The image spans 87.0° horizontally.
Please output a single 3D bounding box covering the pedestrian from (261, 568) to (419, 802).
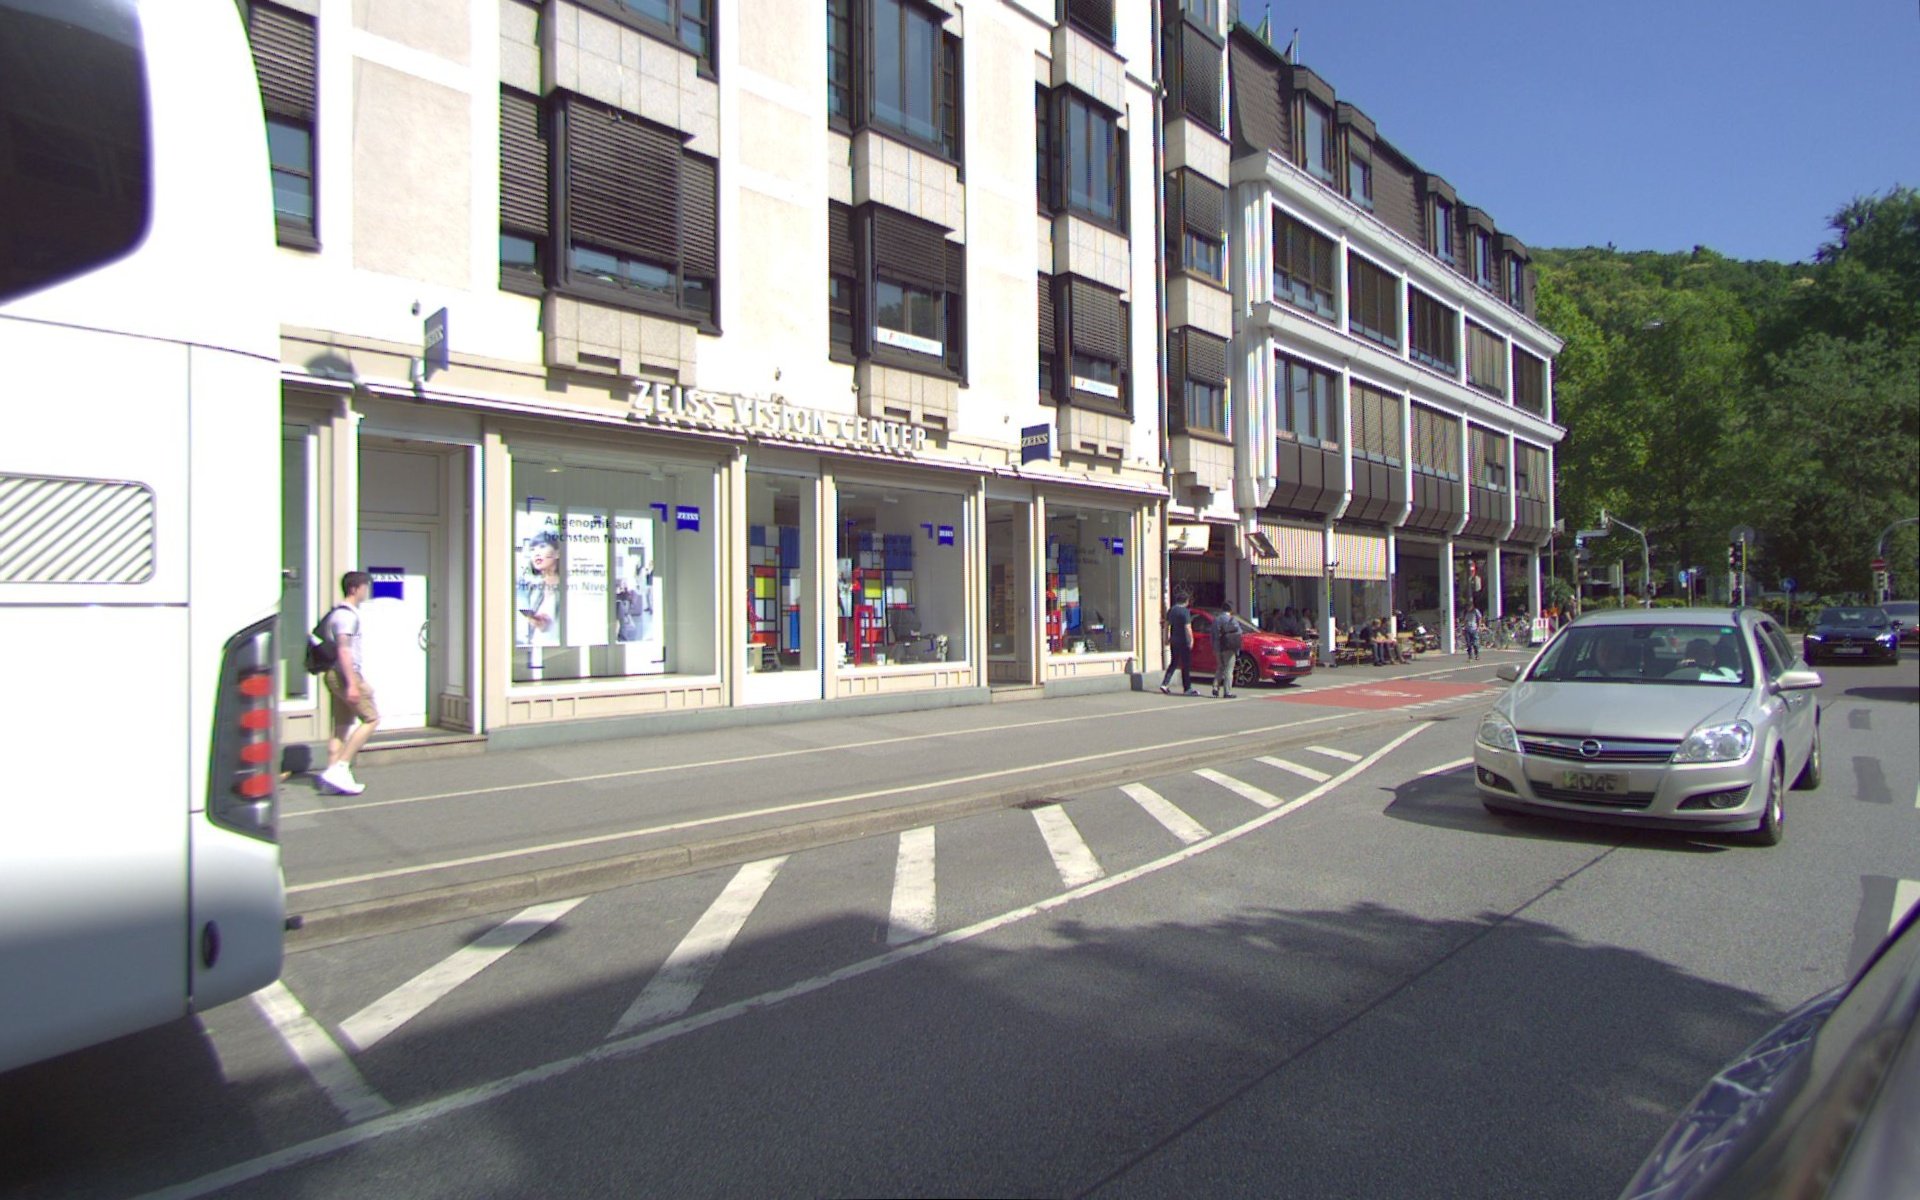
[{"bbox_3d":[-5.132,0.651,8.392,1.002,1.801,0.574,-2,0,-41],"label":"pedestrian"}]

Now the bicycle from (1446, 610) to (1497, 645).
[{"bbox_3d":[17.251,0.927,34.146,0.272,1.134,1.575,0,0,-37],"label":"bicycle"}]

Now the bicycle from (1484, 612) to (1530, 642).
[{"bbox_3d":[20.034,0.973,37.059,1.444,1.079,0.377,0,0,3],"label":"bicycle"}]

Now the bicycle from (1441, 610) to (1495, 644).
[{"bbox_3d":[17.409,0.915,34.737,0.272,1.134,1.721,0,0,-37],"label":"bicycle"}]

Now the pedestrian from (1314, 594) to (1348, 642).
[{"bbox_3d":[11.115,0.539,30.324,0.685,1.414,0.711,-2,0,-45],"label":"pedestrian"}]

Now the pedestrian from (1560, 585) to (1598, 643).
[{"bbox_3d":[20.280,0.464,33.159,0.683,1.859,0.835,-1,0,-35],"label":"pedestrian"}]

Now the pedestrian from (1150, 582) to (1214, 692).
[{"bbox_3d":[3.934,0.637,17.972,0.820,1.874,0.696,-2,0,-35],"label":"pedestrian"}]

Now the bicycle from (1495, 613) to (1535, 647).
[{"bbox_3d":[19.031,1.005,34.663,2.201,1.135,0.277,0,-1,-36],"label":"bicycle"}]

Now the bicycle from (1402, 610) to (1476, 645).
[{"bbox_3d":[16.040,0.932,33.952,2.232,1.135,0.273,-2,-2,40],"label":"bicycle"}]

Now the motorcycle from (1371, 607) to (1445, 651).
[{"bbox_3d":[14.245,0.888,32.254,0.929,1.307,2.248,-1,0,-16],"label":"motorcycle"}]

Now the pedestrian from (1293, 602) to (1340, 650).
[{"bbox_3d":[10.483,0.749,29.720,1.087,1.368,0.896,-2,0,-45],"label":"pedestrian"}]

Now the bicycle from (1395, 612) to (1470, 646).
[{"bbox_3d":[15.629,0.955,33.500,2.226,1.111,0.274,-1,-2,34],"label":"bicycle"}]

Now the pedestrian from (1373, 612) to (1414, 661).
[{"bbox_3d":[11.327,0.934,26.471,0.683,1.232,0.713,-2,0,-35],"label":"pedestrian"}]

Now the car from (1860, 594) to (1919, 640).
[{"bbox_3d":[32.072,0.540,34.373,4.271,1.447,1.937,-1,0,-44],"label":"car"}]

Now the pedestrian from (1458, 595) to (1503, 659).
[{"bbox_3d":[14.083,0.712,27.383,0.683,1.684,0.835,-1,0,-35],"label":"pedestrian"}]

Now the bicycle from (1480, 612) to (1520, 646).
[{"bbox_3d":[18.587,0.971,34.840,2.201,1.135,0.277,0,-1,-36],"label":"bicycle"}]

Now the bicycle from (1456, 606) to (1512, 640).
[{"bbox_3d":[20.991,0.907,40.574,1.934,1.333,0.530,0,-1,8],"label":"bicycle"}]

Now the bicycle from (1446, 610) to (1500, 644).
[{"bbox_3d":[17.715,0.926,34.978,0.272,1.134,1.721,0,0,-37],"label":"bicycle"}]

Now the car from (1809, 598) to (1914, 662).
[{"bbox_3d":[22.740,0.696,25.610,1.841,1.447,4.150,-1,0,41],"label":"car"}]

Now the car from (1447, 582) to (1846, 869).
[{"bbox_3d":[5.351,0.695,7.620,1.707,1.542,4.335,-2,-2,44],"label":"car"}]

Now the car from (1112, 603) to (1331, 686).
[{"bbox_3d":[5.287,0.841,20.813,1.810,1.514,4.050,0,-1,-42],"label":"car"}]

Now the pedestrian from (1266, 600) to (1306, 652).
[{"bbox_3d":[9.125,0.731,28.309,0.813,1.414,0.685,-2,-1,44],"label":"pedestrian"}]

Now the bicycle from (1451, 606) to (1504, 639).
[{"bbox_3d":[20.998,0.900,41.104,1.828,1.333,0.530,0,-1,8],"label":"bicycle"}]

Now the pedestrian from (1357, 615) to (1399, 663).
[{"bbox_3d":[10.706,0.980,25.902,0.683,1.187,0.713,-2,0,-35],"label":"pedestrian"}]

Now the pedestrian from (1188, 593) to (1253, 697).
[{"bbox_3d":[4.443,0.743,17.246,0.819,1.707,0.696,0,-1,-35],"label":"pedestrian"}]

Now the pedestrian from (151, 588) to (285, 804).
[{"bbox_3d":[-6.062,0.734,8.272,0.808,1.637,0.646,-2,0,-41],"label":"pedestrian"}]

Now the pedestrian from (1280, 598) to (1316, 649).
[{"bbox_3d":[9.669,0.673,28.938,0.685,1.414,0.711,-2,0,-45],"label":"pedestrian"}]

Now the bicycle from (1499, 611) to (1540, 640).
[{"bbox_3d":[20.874,0.956,37.732,1.441,1.079,0.309,0,0,-8],"label":"bicycle"}]
